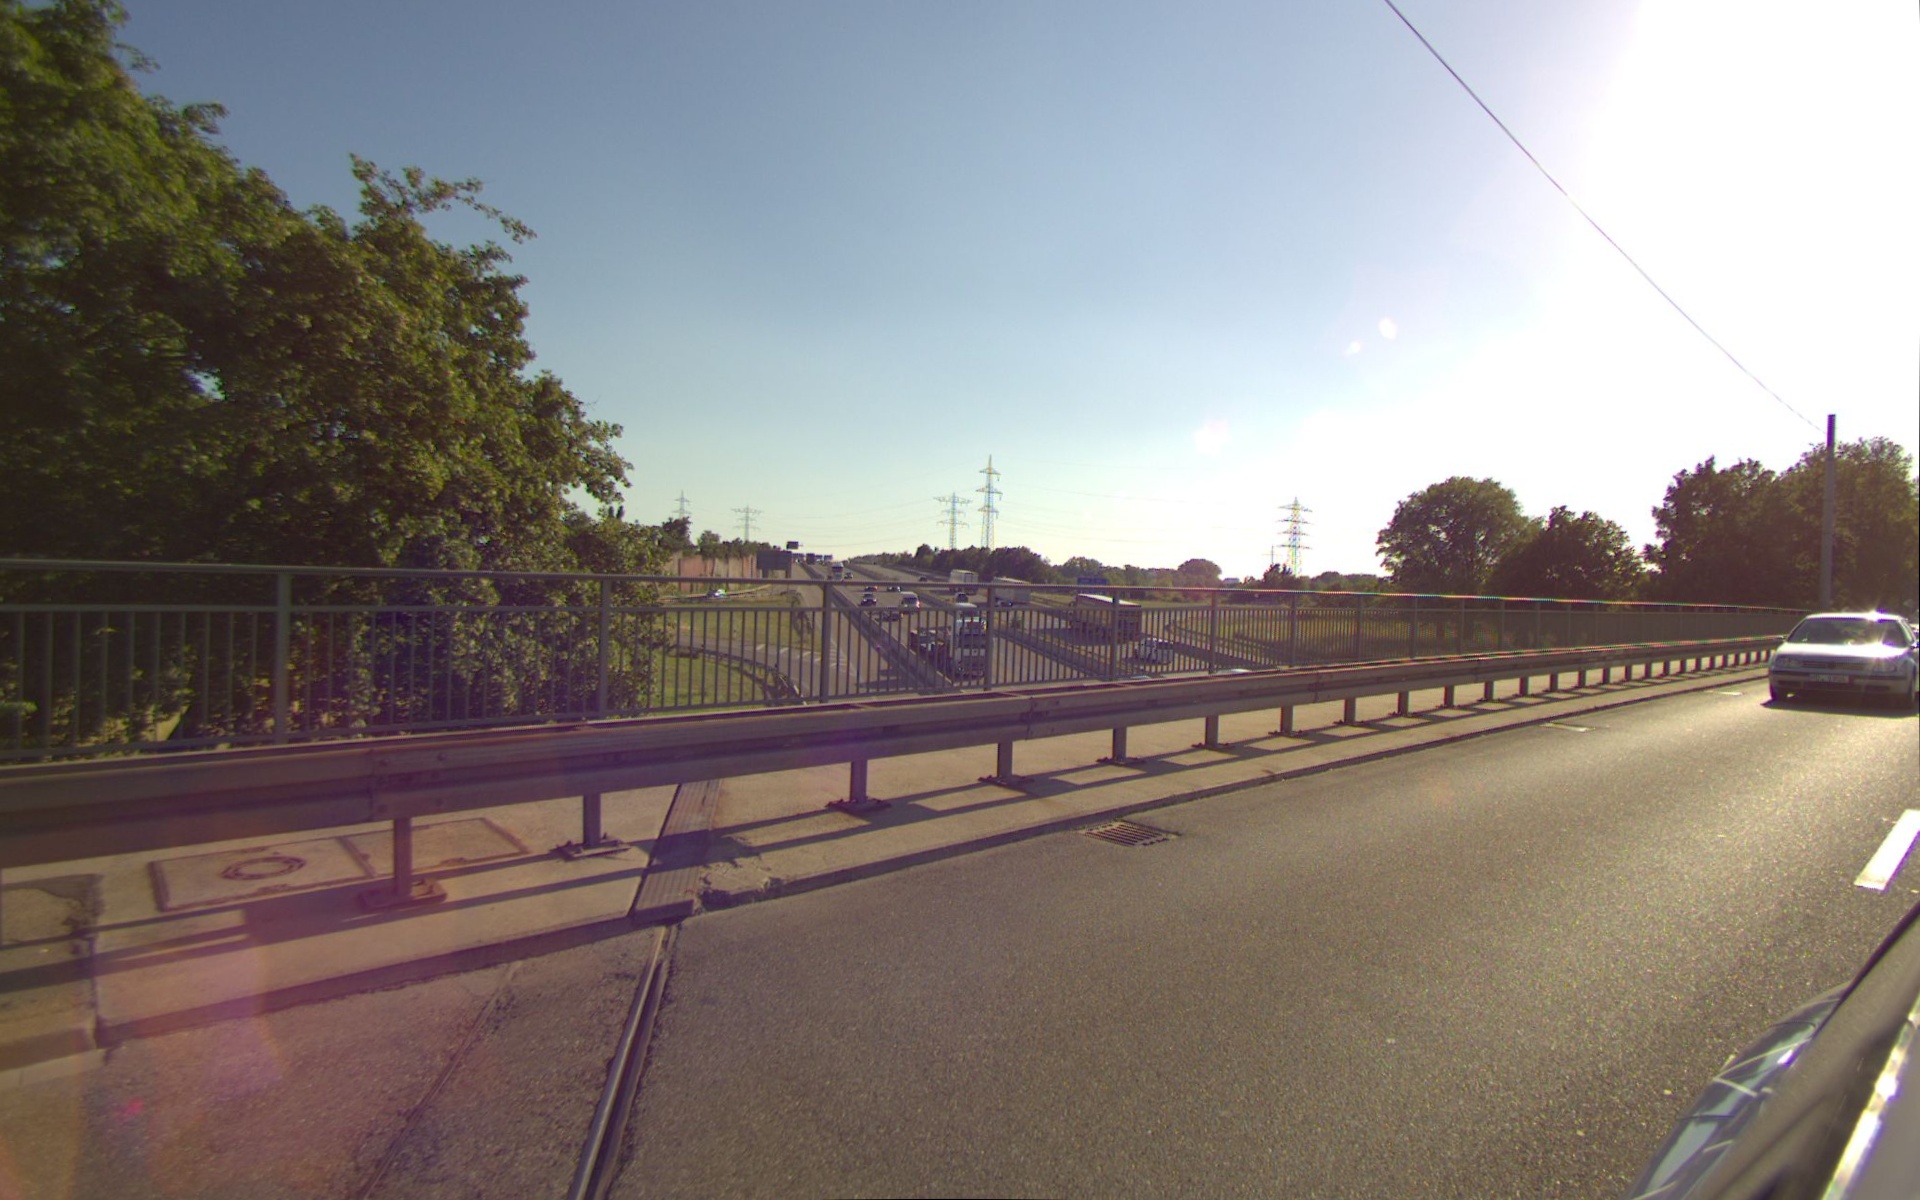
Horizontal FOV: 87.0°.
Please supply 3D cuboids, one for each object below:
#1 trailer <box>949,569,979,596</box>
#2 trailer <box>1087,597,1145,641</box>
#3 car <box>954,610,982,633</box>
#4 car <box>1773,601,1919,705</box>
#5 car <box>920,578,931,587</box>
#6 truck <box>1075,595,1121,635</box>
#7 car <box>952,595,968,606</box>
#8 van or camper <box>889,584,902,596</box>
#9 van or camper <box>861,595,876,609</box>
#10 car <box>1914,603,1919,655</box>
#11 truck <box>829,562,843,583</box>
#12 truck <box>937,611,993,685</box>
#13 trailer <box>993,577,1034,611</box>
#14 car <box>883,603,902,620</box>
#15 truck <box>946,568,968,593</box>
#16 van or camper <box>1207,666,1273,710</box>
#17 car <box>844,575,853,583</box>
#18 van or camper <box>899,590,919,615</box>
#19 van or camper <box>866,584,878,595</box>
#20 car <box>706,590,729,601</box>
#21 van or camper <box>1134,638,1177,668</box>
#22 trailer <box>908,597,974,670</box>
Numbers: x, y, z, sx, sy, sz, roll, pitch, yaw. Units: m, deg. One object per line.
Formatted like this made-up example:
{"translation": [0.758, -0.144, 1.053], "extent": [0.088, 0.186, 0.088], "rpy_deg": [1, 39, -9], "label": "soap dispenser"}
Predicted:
{"translation": [0.638, -3.363, 185.725], "extent": [2.992, 4.514, 13.146], "rpy_deg": [-1, 3, -11], "label": "trailer"}
{"translation": [16.229, 1.874, 105.983], "extent": [2.992, 3.902, 9.394], "rpy_deg": [-1, 3, -11], "label": "trailer"}
{"translation": [0.809, 2.268, 108.604], "extent": [2.022, 1.989, 4.965], "rpy_deg": [0, 3, -12], "label": "car"}
{"translation": [14.676, 0.754, 16.398], "extent": [4.063, 1.435, 1.692], "rpy_deg": [0, 1, -41], "label": "car"}
{"translation": [-7.494, -3.755, 219.011], "extent": [1.666, 1.533, 3.971], "rpy_deg": [0, 5, -14], "label": "car"}
{"translation": [15.163, 1.580, 111.568], "extent": [2.992, 3.929, 6.621], "rpy_deg": [-1, 3, -11], "label": "truck"}
{"translation": [-0.069, 0.049, 152.968], "extent": [1.849, 1.533, 4.074], "rpy_deg": [1, 3, -9], "label": "car"}
{"translation": [-11.361, -1.768, 178.901], "extent": [1.716, 1.790, 3.828], "rpy_deg": [0, 3, -12], "label": "van or camper"}
{"translation": [-12.933, 0.263, 142.613], "extent": [1.716, 1.790, 3.827], "rpy_deg": [0, 3, -10], "label": "van or camper"}
{"translation": [30.777, 0.877, 31.153], "extent": [3.777, 1.540, 1.708], "rpy_deg": [0, 1, -41], "label": "car"}
{"translation": [-26.544, -5.942, 216.779], "extent": [2.730, 4.127, 7.546], "rpy_deg": [0, 4, -9], "label": "truck"}
{"translation": [0.250, 3.311, 72.551], "extent": [2.677, 4.668, 7.248], "rpy_deg": [1, 2, -10], "label": "truck"}
{"translation": [7.920, -1.009, 151.387], "extent": [3.239, 4.326, 11.579], "rpy_deg": [4, 2, -11], "label": "trailer"}
{"translation": [-7.918, 1.329, 118.561], "extent": [1.865, 1.741, 3.991], "rpy_deg": [0, 3, -10], "label": "car"}
{"translation": [-0.616, -3.700, 192.288], "extent": [2.989, 4.514, 6.621], "rpy_deg": [-1, 3, -11], "label": "truck"}
{"translation": [17.129, 5.377, 62.187], "extent": [1.953, 1.989, 4.825], "rpy_deg": [0, 3, -10], "label": "van or camper"}
{"translation": [-25.457, -4.829, 230.845], "extent": [1.865, 1.741, 3.991], "rpy_deg": [0, 3, -10], "label": "car"}
{"translation": [-6.555, 0.300, 130.106], "extent": [1.954, 2.856, 4.828], "rpy_deg": [0, 3, -9], "label": "van or camper"}
{"translation": [-15.613, -1.860, 179.088], "extent": [1.716, 1.790, 3.827], "rpy_deg": [0, 3, -11], "label": "van or camper"}
{"translation": [-35.322, -0.687, 147.259], "extent": [1.734, 1.617, 3.675], "rpy_deg": [0, 1, 14], "label": "car"}
{"translation": [16.400, 4.404, 85.100], "extent": [1.953, 1.989, 4.825], "rpy_deg": [0, 3, -10], "label": "van or camper"}
{"translation": [-1.856, 2.499, 84.039], "extent": [2.676, 4.643, 17.016], "rpy_deg": [1, 3, -10], "label": "trailer"}
